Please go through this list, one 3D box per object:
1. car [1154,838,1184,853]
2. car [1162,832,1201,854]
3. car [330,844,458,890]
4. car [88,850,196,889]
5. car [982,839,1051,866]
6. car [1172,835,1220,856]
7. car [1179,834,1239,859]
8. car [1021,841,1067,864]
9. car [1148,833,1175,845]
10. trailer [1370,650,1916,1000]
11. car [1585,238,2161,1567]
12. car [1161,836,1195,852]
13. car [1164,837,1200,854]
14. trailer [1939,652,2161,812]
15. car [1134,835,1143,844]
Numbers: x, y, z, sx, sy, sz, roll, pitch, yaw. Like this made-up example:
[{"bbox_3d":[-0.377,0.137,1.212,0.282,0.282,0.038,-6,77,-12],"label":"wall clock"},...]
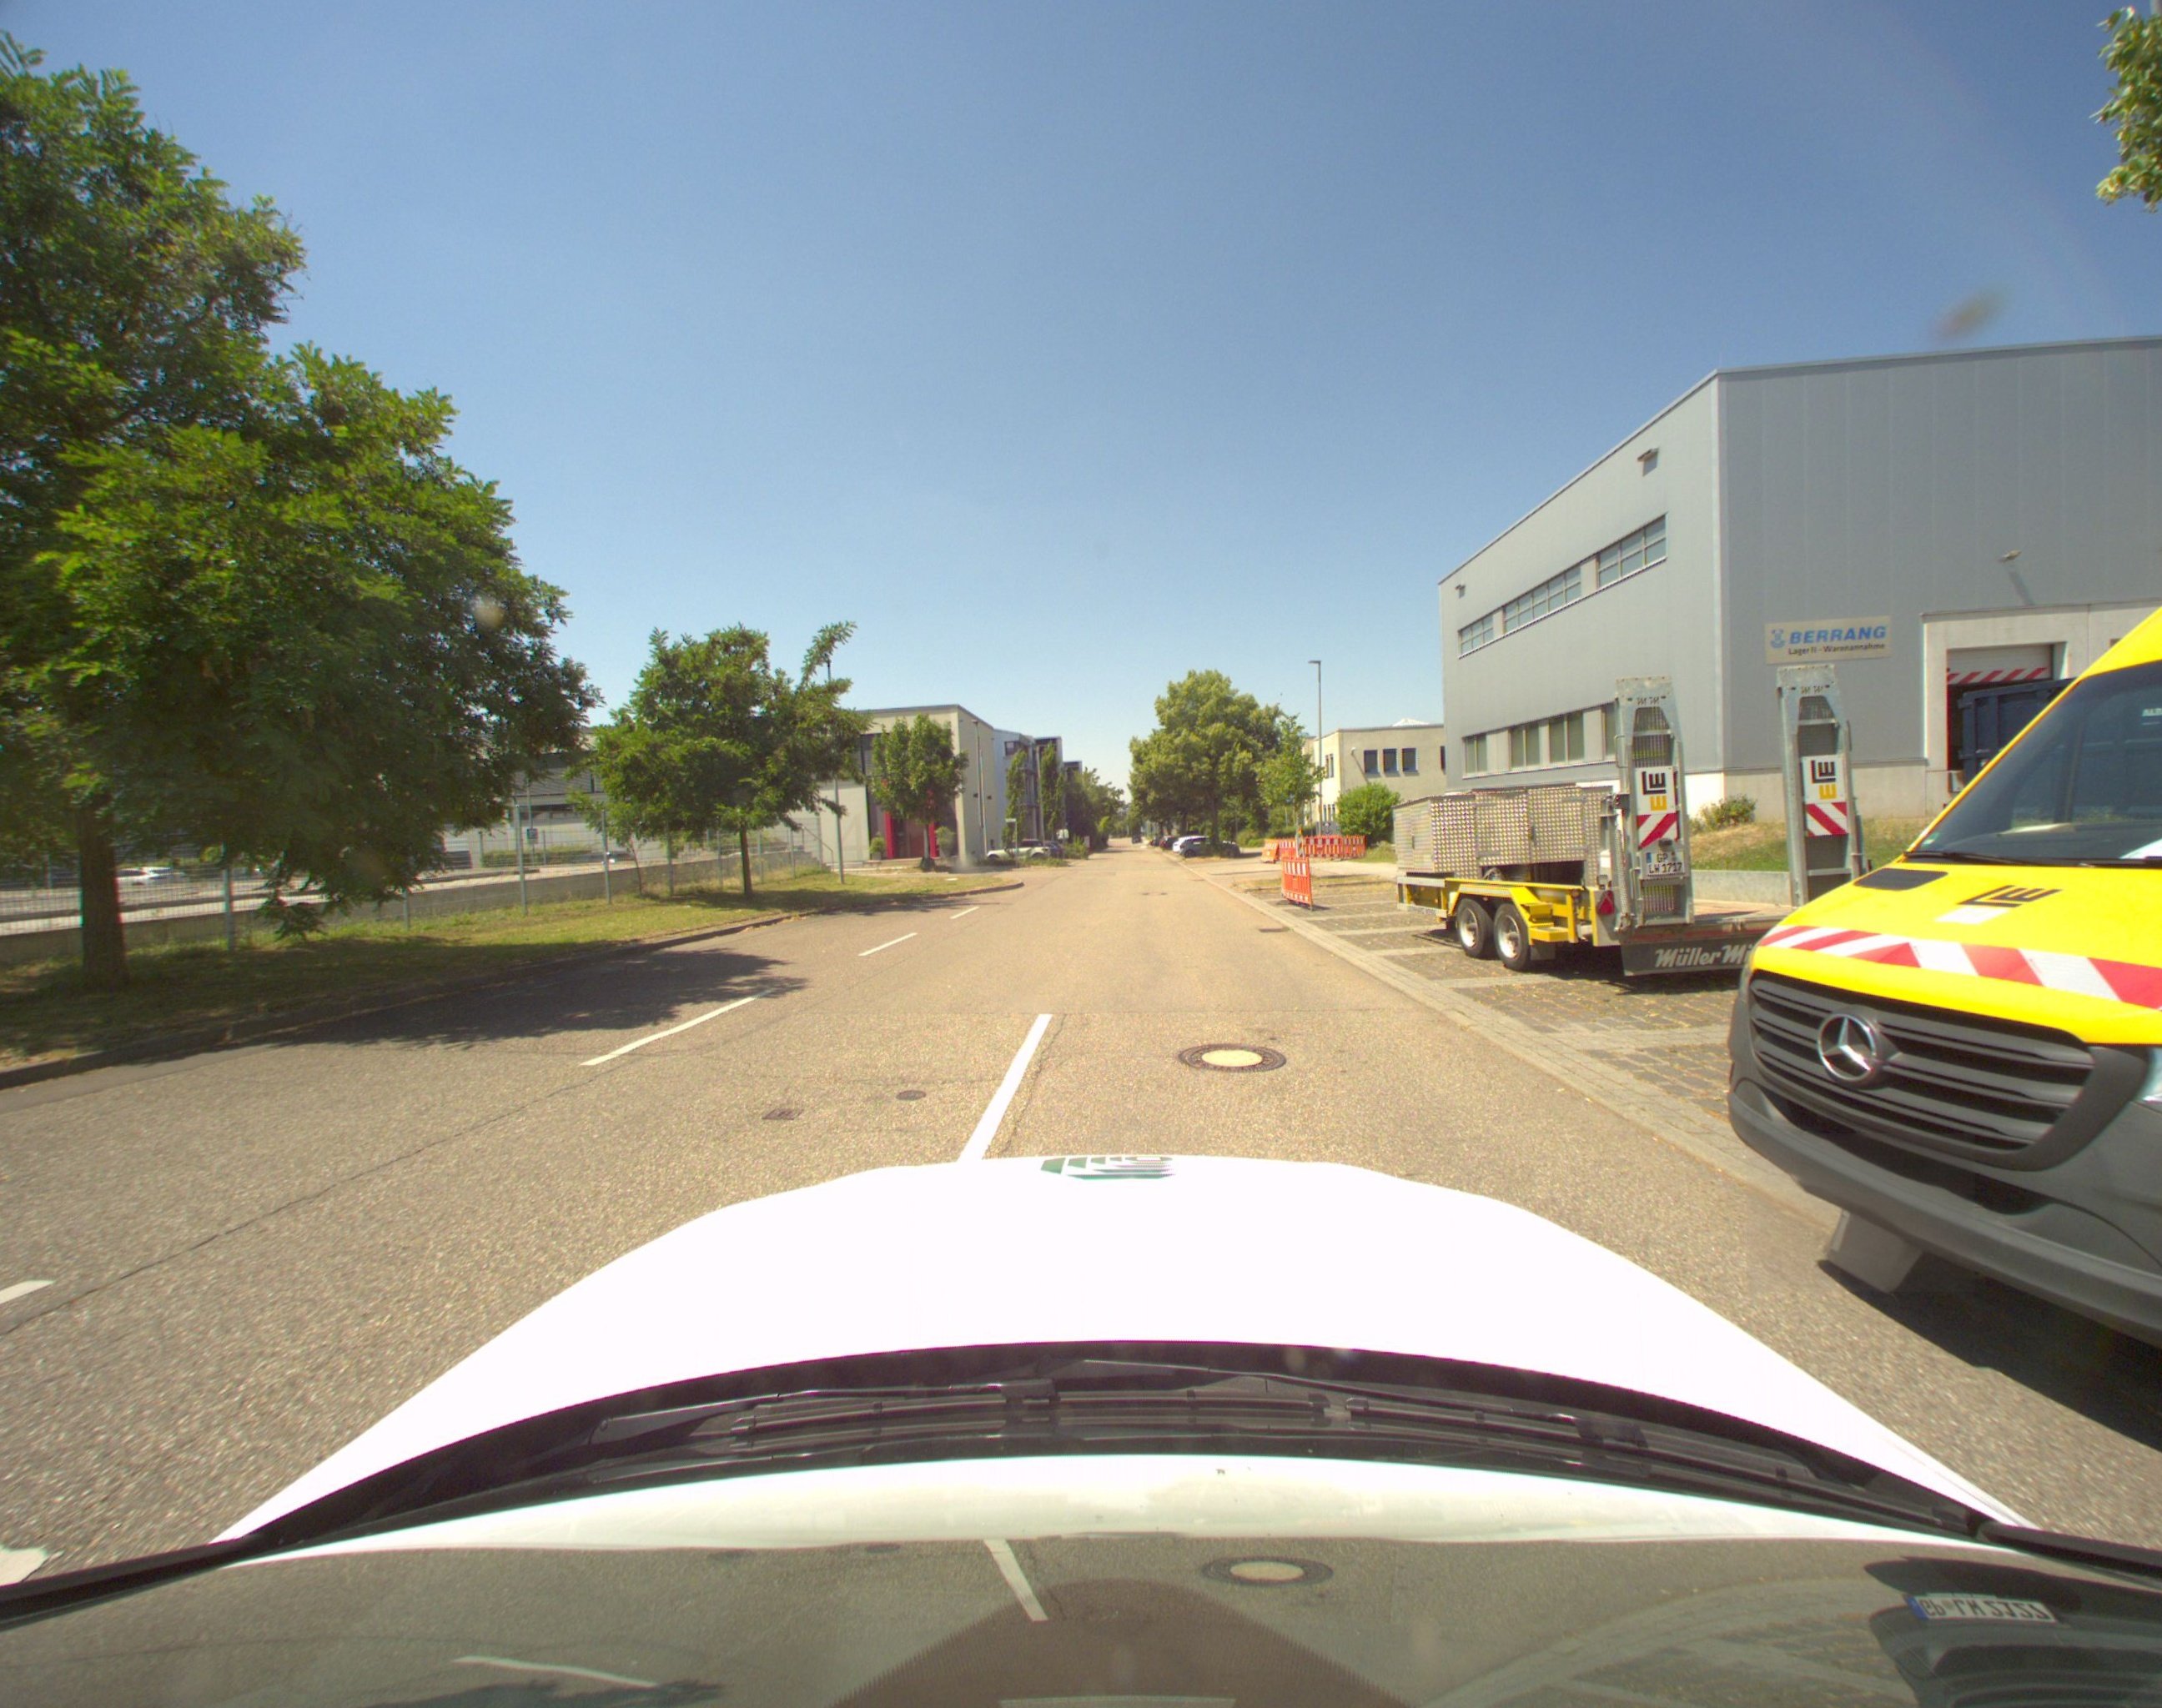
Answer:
[{"bbox_3d":[12.343,-1.245,114.290,3.924,1.834,1.765,-2,4,-4],"label":"car"},{"bbox_3d":[10.244,-1.127,83.174,3.706,2.110,1.816,-2,1,3],"label":"car"},{"bbox_3d":[-37.885,0.696,44.988,5.219,2.271,2.136,-1,4,4],"label":"car"},{"bbox_3d":[-53.747,0.875,46.654,3.967,2.013,1.976,-1,4,6],"label":"car"},{"bbox_3d":[-3.941,-0.095,50.145,4.032,1.494,1.729,-2,1,1],"label":"car"},{"bbox_3d":[9.047,-0.711,64.394,3.506,1.354,1.537,-5,1,-1],"label":"car"},{"bbox_3d":[8.596,-0.481,54.758,3.668,1.354,1.645,-5,1,-1],"label":"car"},{"bbox_3d":[-2.481,-0.098,54.858,3.051,1.478,1.291,-1,1,-4],"label":"car"},{"bbox_3d":[12.450,-2.311,126.348,3.924,1.577,1.765,-2,4,-4],"label":"car"},{"bbox_3d":[5.879,-0.291,9.844,2.648,2.857,5.519,-4,1,0],"label":"trailer"},{"bbox_3d":[5.117,-0.143,2.403,5.753,2.732,2.003,-6,1,4],"label":"car"},{"bbox_3d":[10.917,-1.112,92.064,3.706,1.626,1.816,-2,1,3],"label":"car"},{"bbox_3d":[10.708,-0.917,86.774,3.706,1.626,1.816,-2,1,3],"label":"car"},{"bbox_3d":[17.642,-1.852,11.990,2.645,2.419,7.429,-1,4,6],"label":"trailer"},{"bbox_3d":[11.621,-2.901,165.793,1.753,1.755,3.949,-2,1,4],"label":"car"}]
